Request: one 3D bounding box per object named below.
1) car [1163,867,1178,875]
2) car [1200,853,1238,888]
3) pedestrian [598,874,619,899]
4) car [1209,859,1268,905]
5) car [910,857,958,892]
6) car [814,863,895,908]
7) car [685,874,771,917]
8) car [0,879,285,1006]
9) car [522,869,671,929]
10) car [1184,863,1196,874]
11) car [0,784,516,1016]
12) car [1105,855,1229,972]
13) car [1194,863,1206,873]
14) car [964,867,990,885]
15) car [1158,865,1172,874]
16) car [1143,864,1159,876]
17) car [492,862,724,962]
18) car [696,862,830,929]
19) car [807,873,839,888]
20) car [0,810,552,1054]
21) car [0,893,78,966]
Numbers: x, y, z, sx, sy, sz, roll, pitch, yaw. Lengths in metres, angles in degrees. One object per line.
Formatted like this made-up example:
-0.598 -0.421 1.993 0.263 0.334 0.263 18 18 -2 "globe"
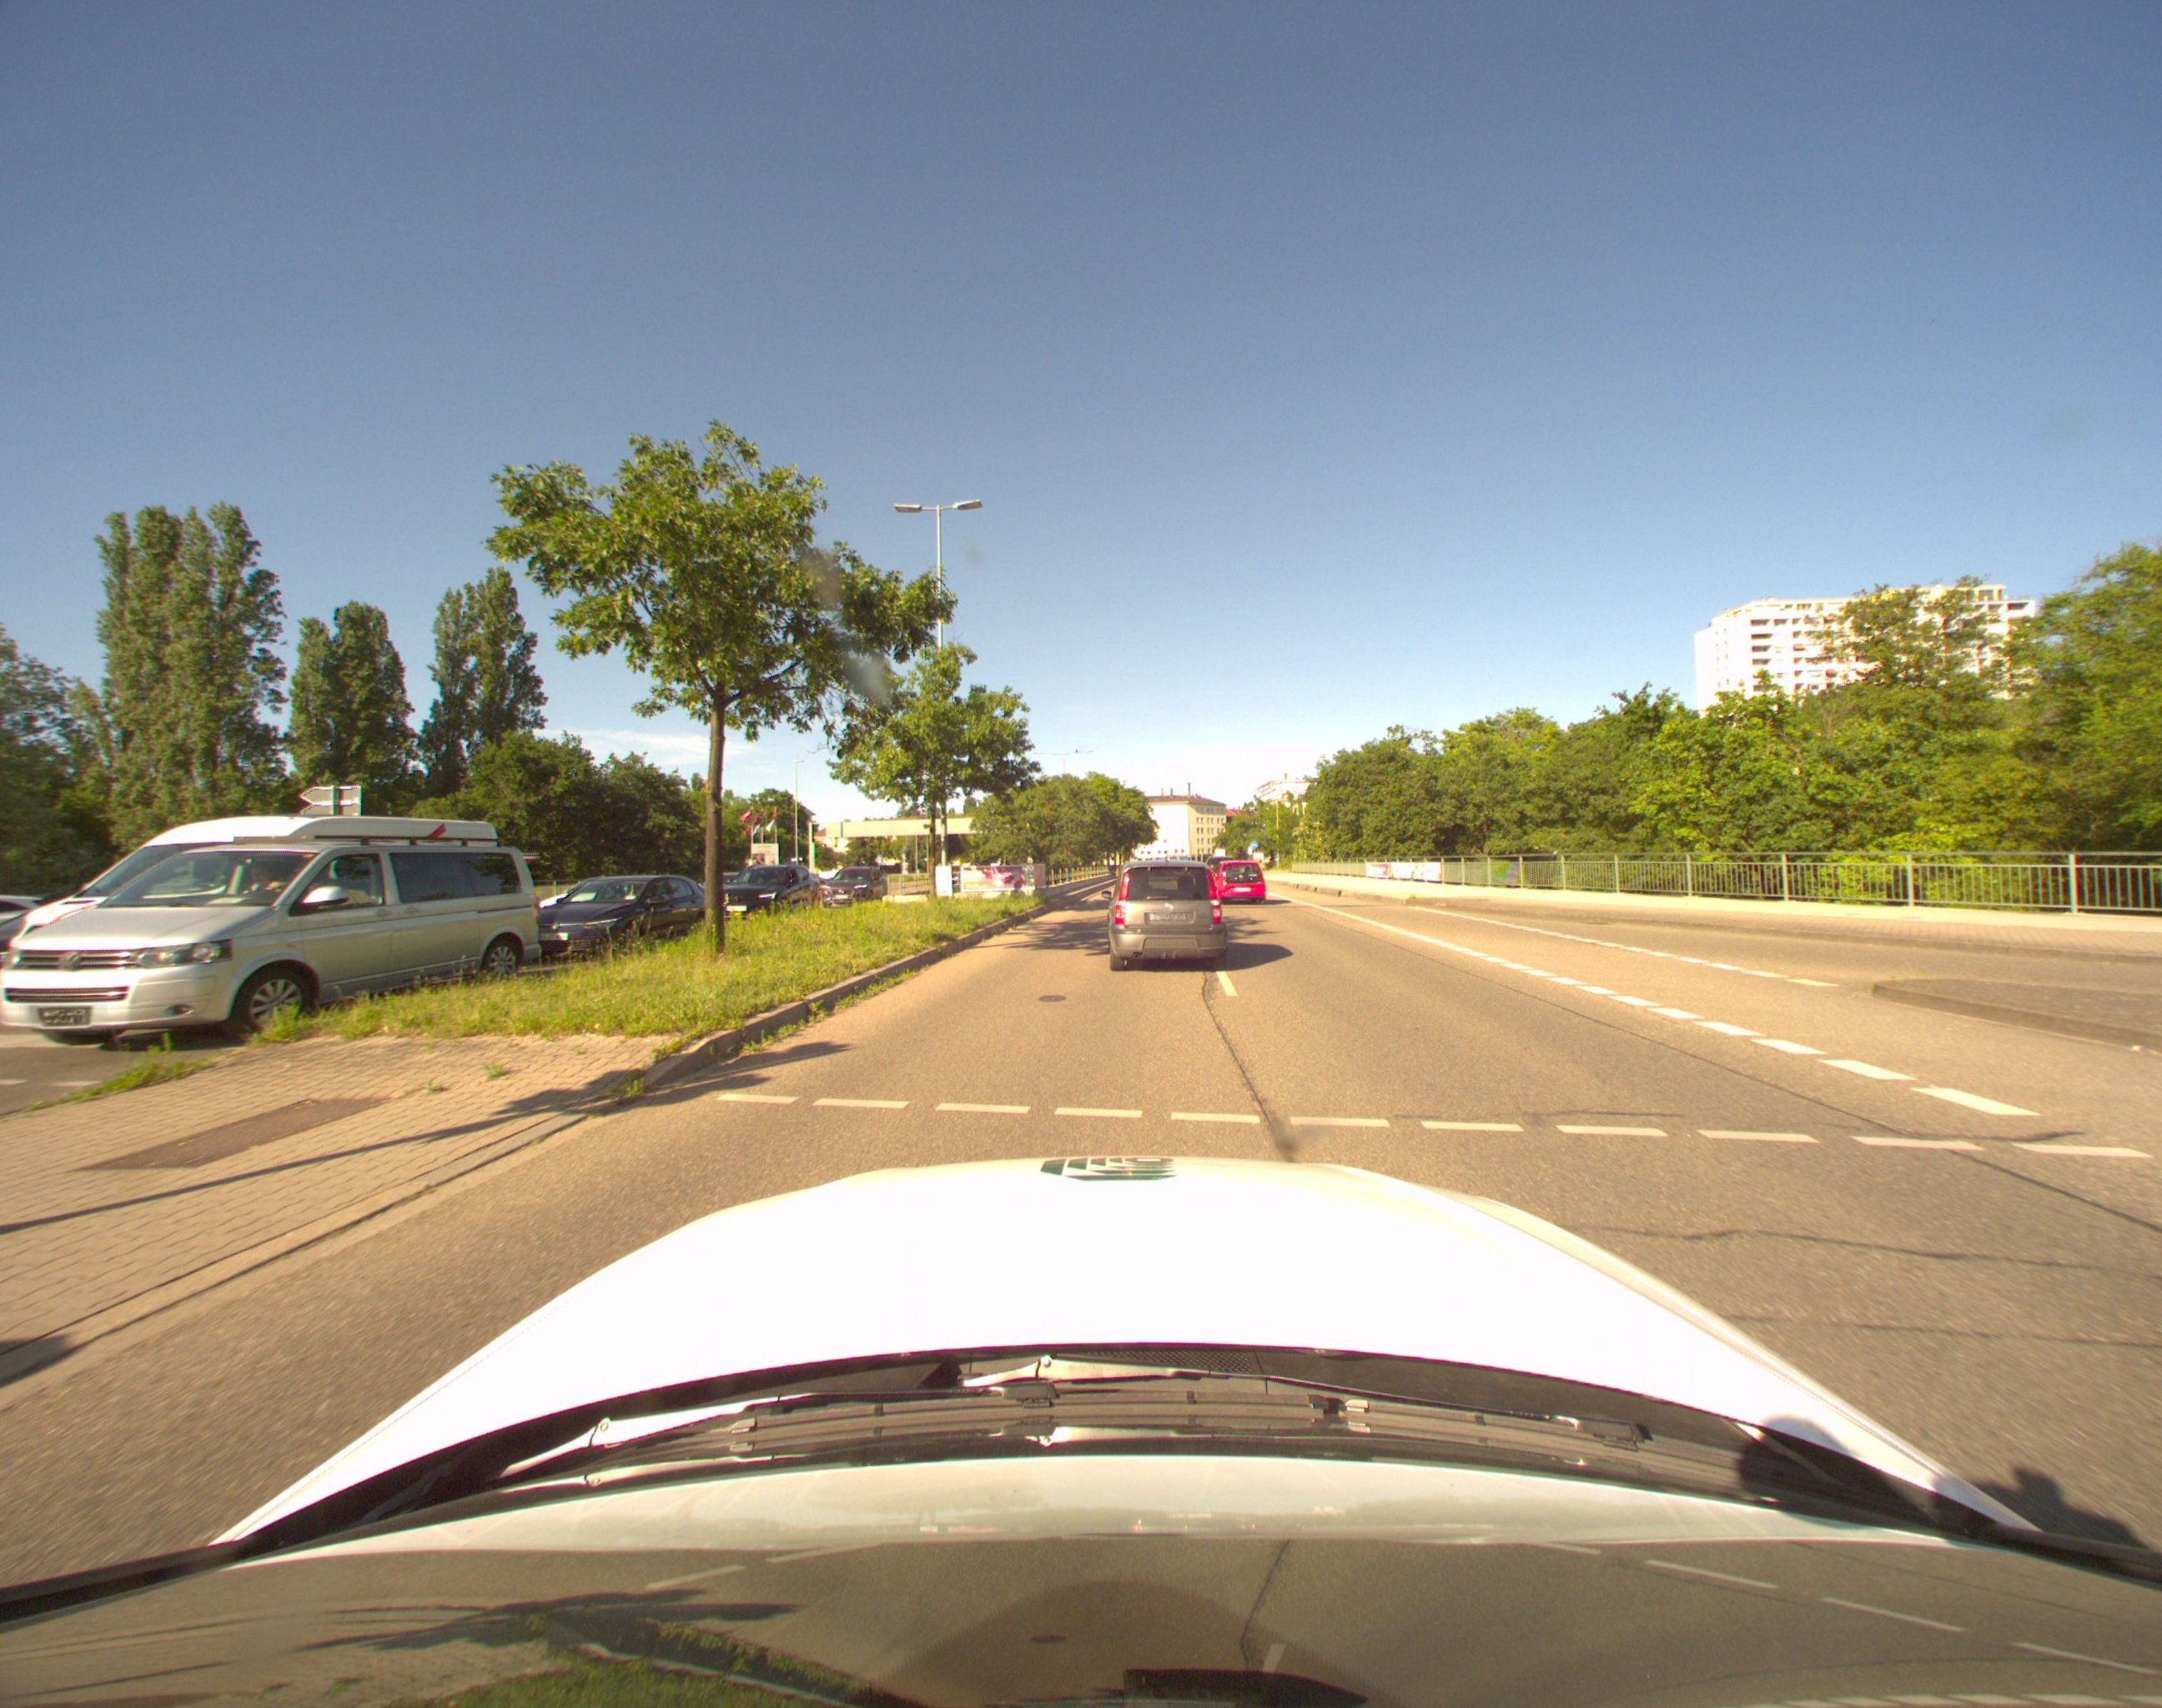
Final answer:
18.178 3.416 164.971 1.929 1.528 4.118 -2 -1 21 "car"
7.626 0.912 45.097 1.934 1.840 4.163 0 -2 9 "car"
-28.608 1.949 49.327 0.665 1.503 0.783 -1 -3 18 "pedestrian"
5.380 0.915 28.238 1.610 1.463 3.755 0 0 5 "car"
-8.989 1.226 50.104 1.986 2.014 4.334 -2 -1 1 "car"
-8.881 1.195 32.328 1.930 1.622 4.505 -1 -1 0 "car"
-14.779 1.704 34.345 1.930 1.622 3.739 -1 -1 0 "car"
-14.698 1.219 12.083 1.933 1.507 3.994 -3 0 -4 "car"
-14.948 1.334 25.492 1.930 1.622 4.505 -1 -1 0 "car"
20.695 2.730 154.903 1.933 1.840 4.163 -5 -2 10 "car"
-11.553 0.542 12.236 1.931 2.576 6.085 -1 -1 -1 "car"
1.266 0.781 12.565 1.610 1.515 3.824 0 0 4 "car"
23.592 2.792 161.208 1.933 1.840 4.163 -5 -2 10 "car"
-9.448 1.995 74.195 1.738 1.500 4.000 -2 -1 1 "car"
16.209 2.979 156.651 1.930 1.528 4.114 -2 -1 15 "car"
9.492 2.082 109.915 1.935 1.528 4.104 -1 -1 6 "car"
-8.893 0.984 15.867 1.931 1.622 4.503 -1 -1 -1 "car"
-8.732 1.071 22.839 1.930 1.622 4.505 -1 -1 0 "car"
-36.909 3.739 116.311 4.250 2.014 1.986 -2 -1 -20 "car"
-8.617 0.681 9.324 1.931 2.008 4.928 -1 -1 -1 "car"
-25.103 1.719 17.390 1.762 1.535 4.355 -1 0 27 "car"
